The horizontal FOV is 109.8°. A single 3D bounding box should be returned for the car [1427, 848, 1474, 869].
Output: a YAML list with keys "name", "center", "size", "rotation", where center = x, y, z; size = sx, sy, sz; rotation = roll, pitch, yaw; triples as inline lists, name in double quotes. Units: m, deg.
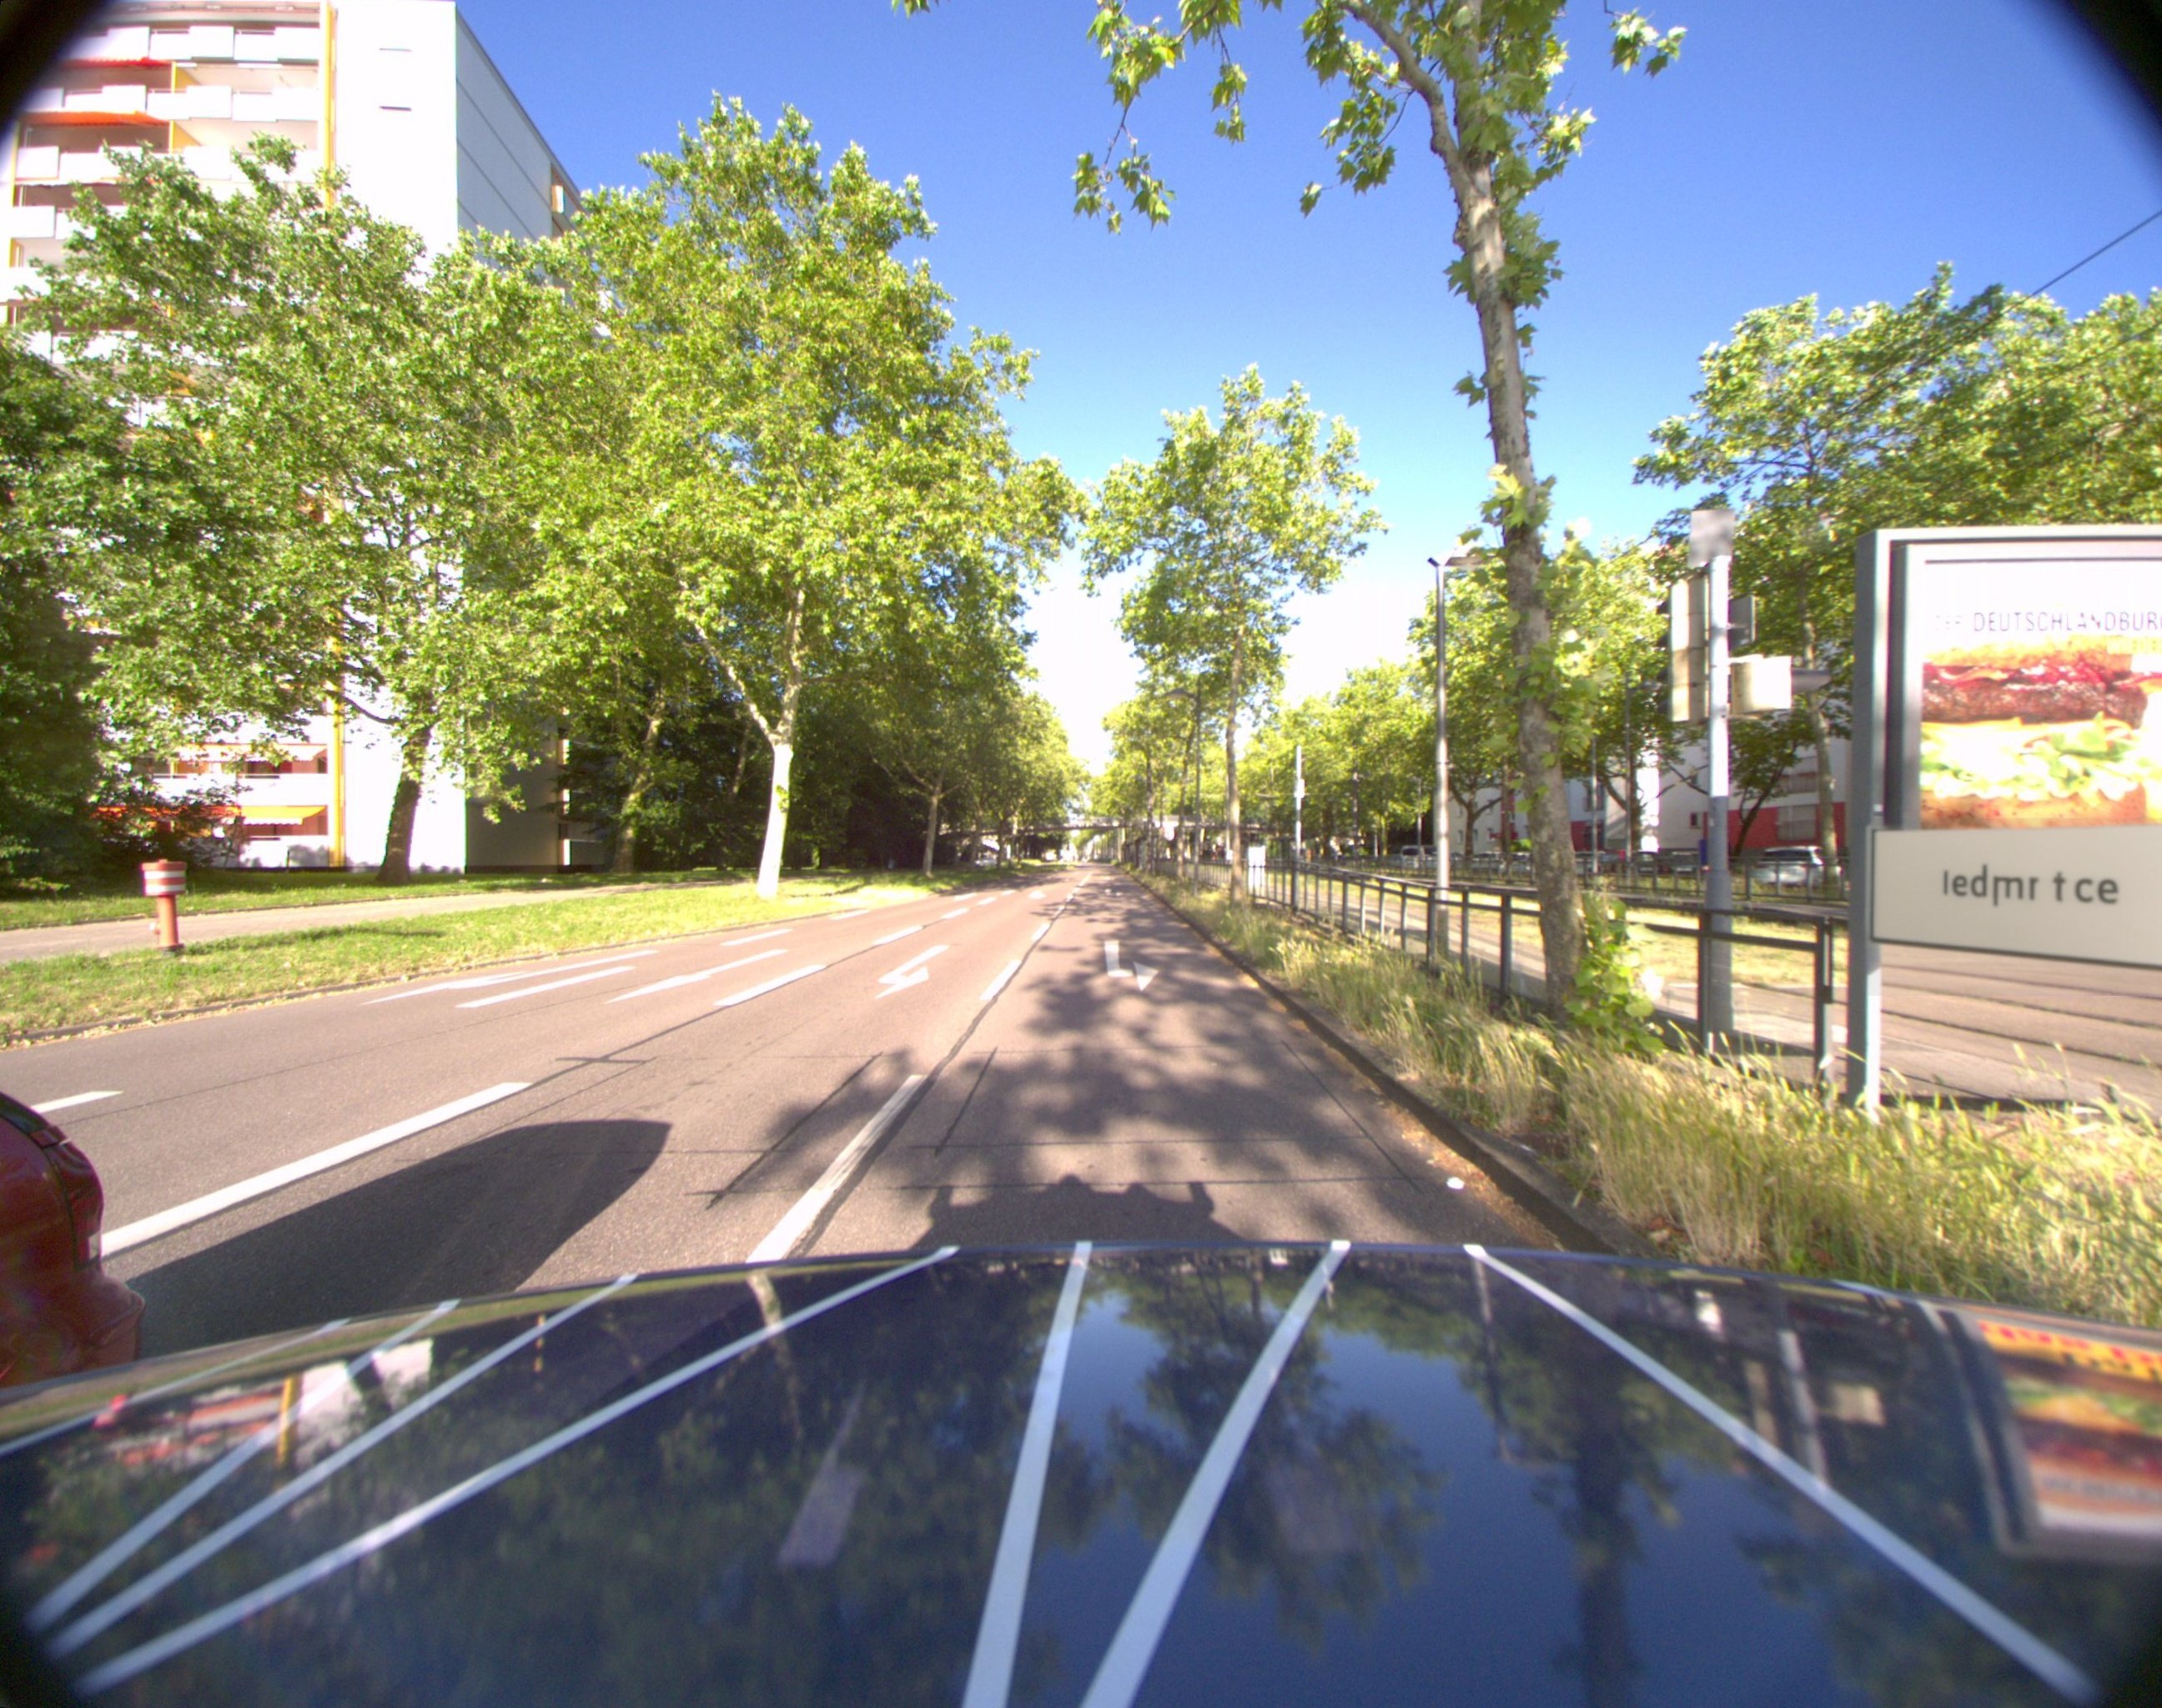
- name: "car"
  center: [26.303, 0.309, 54.022]
  size: [3.811, 1.433, 1.652]
  rotation: [-2, 0, -42]

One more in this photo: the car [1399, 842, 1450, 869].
- name: "car"
  center: [25.819, 0.088, 57.020]
  size: [4.330, 1.863, 1.836]
  rotation: [-2, 0, -42]

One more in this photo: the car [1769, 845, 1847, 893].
- name: "car"
  center: [25.356, 0.488, 26.465]
  size: [3.811, 1.501, 1.652]
  rotation: [-2, 0, -42]

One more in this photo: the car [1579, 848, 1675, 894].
- name: "car"
  center: [20.009, 0.589, 27.958]
  size: [1.579, 1.548, 2.817]
  rotation: [-2, 0, 3]

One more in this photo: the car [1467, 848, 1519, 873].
- name: "car"
  center: [25.851, 0.396, 47.668]
  size: [3.811, 1.433, 1.652]
  rotation: [-2, 0, -42]

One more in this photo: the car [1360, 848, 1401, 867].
- name: "car"
  center: [24.944, 0.272, 63.199]
  size: [3.811, 1.433, 1.652]
  rotation: [-2, 0, -42]

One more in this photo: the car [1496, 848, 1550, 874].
- name: "car"
  center: [26.098, 0.406, 44.854]
  size: [3.811, 1.433, 1.652]
  rotation: [-2, 0, -42]

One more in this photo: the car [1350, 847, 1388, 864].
- name: "car"
  center: [26.621, 0.135, 70.123]
  size: [3.811, 1.433, 1.652]
  rotation: [-2, 0, -42]

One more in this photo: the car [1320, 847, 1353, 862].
- name: "car"
  center: [26.788, 0.045, 79.615]
  size: [3.811, 1.433, 1.652]
  rotation: [-2, 0, -42]

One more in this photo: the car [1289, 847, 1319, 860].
- name: "car"
  center: [26.442, -0.047, 89.964]
  size: [3.811, 1.433, 1.652]
  rotation: [-2, 0, -42]

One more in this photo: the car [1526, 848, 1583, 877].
- name: "car"
  center: [25.863, 0.442, 41.469]
  size: [3.811, 1.433, 1.652]
  rotation: [-2, 0, -42]

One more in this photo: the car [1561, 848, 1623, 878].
- name: "car"
  center: [25.382, 0.447, 37.688]
  size: [3.811, 1.348, 1.652]
  rotation: [-2, 0, -42]

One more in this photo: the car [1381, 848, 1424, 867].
- name: "car"
  center: [25.731, 0.269, 60.742]
  size: [3.811, 1.433, 1.652]
  rotation: [-2, 0, -42]

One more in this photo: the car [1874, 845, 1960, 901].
- name: "car"
  center: [25.243, 0.522, 22.956]
  size: [3.811, 1.501, 1.652]
  rotation: [-2, 0, -42]

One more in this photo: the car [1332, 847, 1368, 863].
- name: "car"
  center: [26.068, 0.133, 73.555]
  size: [3.811, 1.433, 1.652]
  rotation: [-2, 0, -42]
